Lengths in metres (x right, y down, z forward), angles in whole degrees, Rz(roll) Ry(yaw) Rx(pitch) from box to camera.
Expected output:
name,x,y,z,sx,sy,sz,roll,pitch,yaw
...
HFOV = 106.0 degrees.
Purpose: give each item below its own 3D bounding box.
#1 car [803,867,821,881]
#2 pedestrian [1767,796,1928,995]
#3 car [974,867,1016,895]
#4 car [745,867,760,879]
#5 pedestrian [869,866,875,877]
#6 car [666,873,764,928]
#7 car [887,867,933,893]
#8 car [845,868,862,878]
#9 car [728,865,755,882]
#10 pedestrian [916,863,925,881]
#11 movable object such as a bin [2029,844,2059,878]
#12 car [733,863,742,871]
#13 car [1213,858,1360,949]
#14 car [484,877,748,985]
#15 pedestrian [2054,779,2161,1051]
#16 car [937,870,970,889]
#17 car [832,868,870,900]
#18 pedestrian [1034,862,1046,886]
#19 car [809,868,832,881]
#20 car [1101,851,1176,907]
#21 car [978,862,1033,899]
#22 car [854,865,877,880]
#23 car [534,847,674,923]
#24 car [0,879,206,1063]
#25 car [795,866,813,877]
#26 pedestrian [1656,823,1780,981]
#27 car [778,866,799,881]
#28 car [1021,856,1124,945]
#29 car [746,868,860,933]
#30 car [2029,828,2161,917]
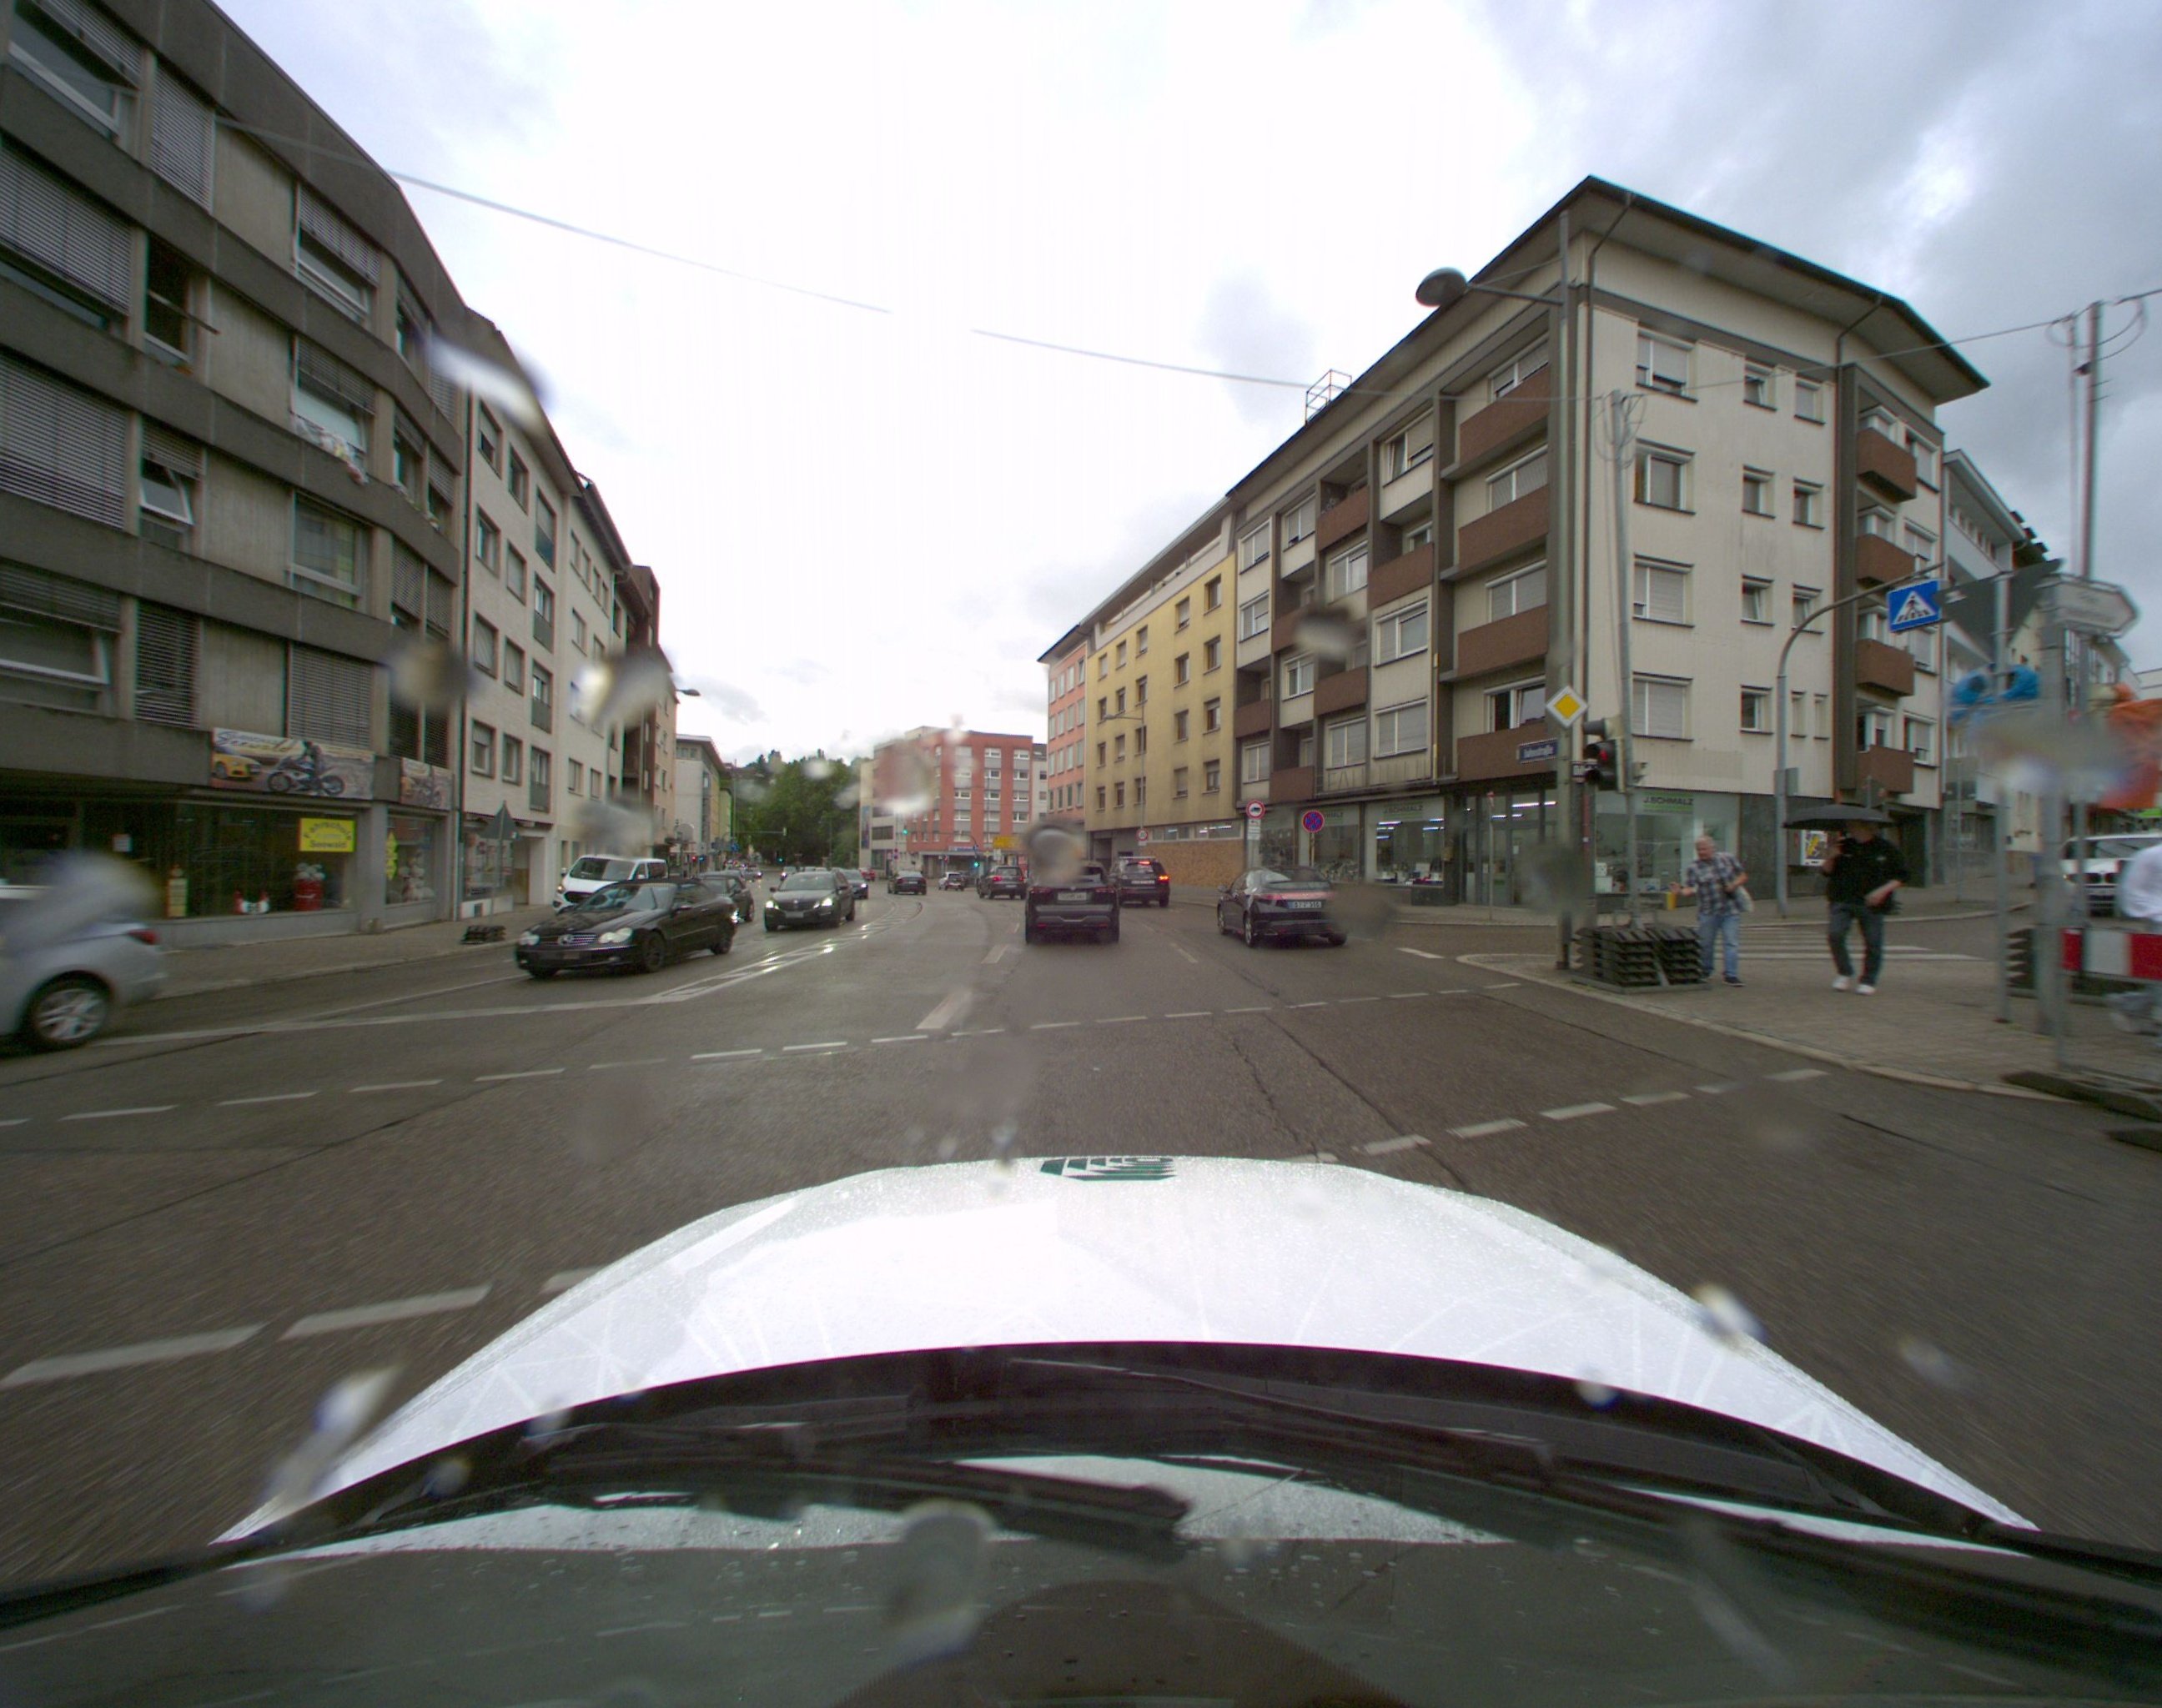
name,x,y,z,sx,sy,sz,roll,pitch,yaw
car,-33.366,2.499,100.926,1.829,1.608,4.395,0,-2,-23
pedestrian,7.812,0.411,8.311,0.924,1.861,1.019,1,-3,-40
car,-5.897,1.813,55.484,1.952,1.816,3.974,-1,-1,-19
car,-43.302,2.515,107.386,1.700,1.627,3.968,0,-1,-24
pedestrian,-32.774,2.709,127.643,0.617,1.737,0.674,-1,0,-35
car,-10.604,1.293,23.858,1.722,1.399,3.583,-2,-1,-9
car,-10.310,1.557,48.894,2.000,1.388,4.468,3,-1,-21
car,-34.835,2.847,124.522,1.724,1.442,4.045,-1,0,-27
car,-36.849,2.114,88.409,1.680,1.706,3.988,2,-1,-8
pedestrian,-20.637,2.312,104.695,0.828,2.158,0.764,3,-2,-22
movable object such as a bin,29.980,0.222,25.359,0.540,1.048,0.526,3,-2,-30
car,-80.673,3.017,191.260,2.002,1.860,3.970,3,-1,-23
car,3.824,0.858,15.860,1.778,1.497,4.055,-1,-1,-1
car,-7.190,1.094,13.245,1.820,1.366,4.598,-1,-1,-3
pedestrian,7.846,0.411,5.972,0.649,1.879,1.000,0,1,33
car,-10.867,2.150,69.374,2.000,1.486,3.973,3,-1,-20
car,-11.629,1.486,41.012,1.688,1.473,3.976,-2,0,-18
pedestrian,-3.178,1.539,63.164,0.674,1.788,1.088,1,-1,-18
car,-30.578,2.408,95.462,1.945,1.527,4.097,0,-2,-28
car,2.059,0.908,30.637,2.018,1.869,4.889,-1,-1,-6
car,-3.789,1.269,40.287,1.950,1.685,3.977,-1,-1,-17
car,-24.530,2.100,92.603,2.001,1.530,3.970,3,-1,-22
car,-14.378,0.945,24.941,2.120,2.015,5.105,3,-3,-13
car,-9.829,1.006,5.959,1.924,1.474,4.599,-2,-1,-2
car,-37.217,2.305,109.279,1.829,1.433,4.362,0,-2,-25
pedestrian,7.195,0.539,9.255,0.786,1.688,0.824,-2,-3,16
car,-33.643,2.241,93.669,1.871,1.647,4.219,-1,-1,-25
car,-0.273,0.874,17.016,1.891,1.629,3.994,-1,-1,-4
car,-7.253,1.155,21.721,1.982,1.459,4.473,-2,-1,-8
car,22.757,0.339,17.842,4.817,1.720,1.979,-2,-1,-34
